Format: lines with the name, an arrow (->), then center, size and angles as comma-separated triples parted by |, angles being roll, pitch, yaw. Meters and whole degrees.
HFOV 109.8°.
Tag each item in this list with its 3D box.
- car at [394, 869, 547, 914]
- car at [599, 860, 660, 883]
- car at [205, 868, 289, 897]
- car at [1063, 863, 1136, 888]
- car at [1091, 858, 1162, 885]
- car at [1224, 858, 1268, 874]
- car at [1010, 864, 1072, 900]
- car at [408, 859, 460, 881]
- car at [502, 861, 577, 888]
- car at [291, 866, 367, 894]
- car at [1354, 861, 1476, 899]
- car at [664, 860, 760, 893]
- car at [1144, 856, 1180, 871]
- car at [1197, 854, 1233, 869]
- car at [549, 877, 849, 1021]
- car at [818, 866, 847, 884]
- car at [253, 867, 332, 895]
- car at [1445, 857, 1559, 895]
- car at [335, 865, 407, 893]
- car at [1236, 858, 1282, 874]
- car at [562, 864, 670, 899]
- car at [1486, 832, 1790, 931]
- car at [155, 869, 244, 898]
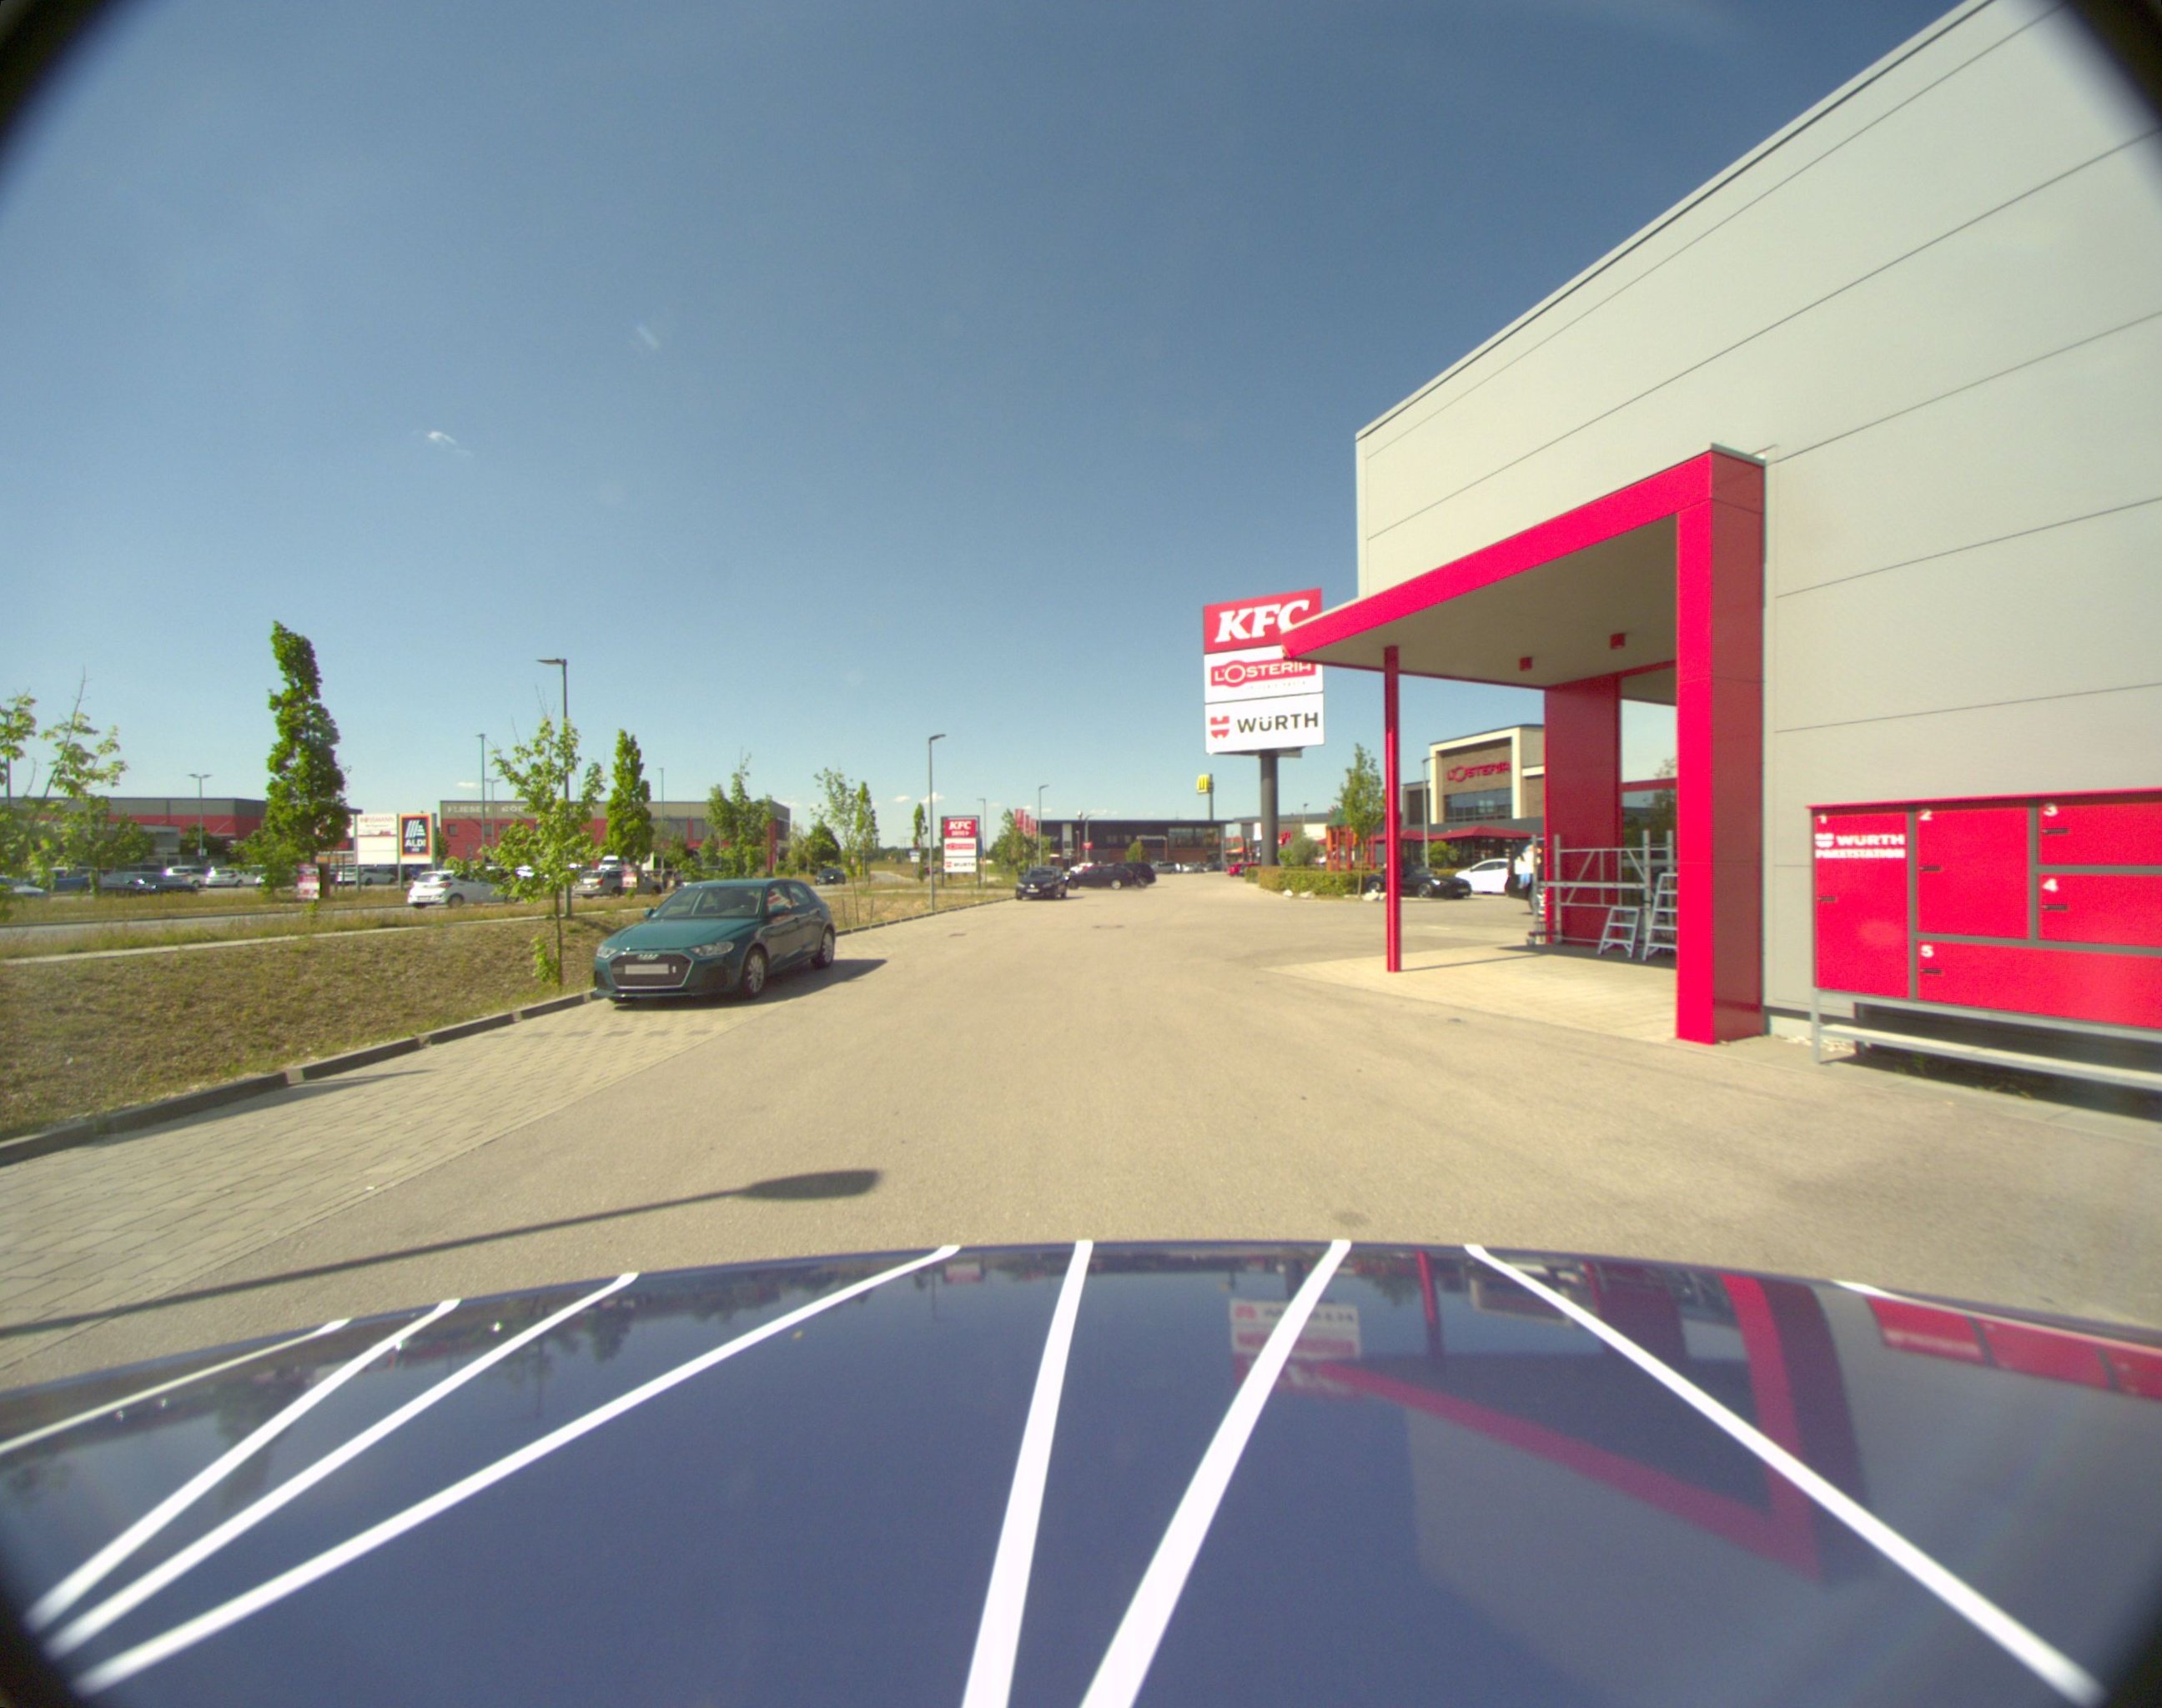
car -> -24.325, 1.445, 30.558 | 1.944, 1.542, 4.763 | -1, 0, 6
car -> -42.234, 1.626, 71.135 | 4.481, 2.026, 2.000 | -1, 0, -1
car -> -63.395, 2.113, 57.860 | 2.000, 2.026, 4.480 | -1, 0, -12
car -> 1.188, 1.345, 47.884 | 4.529, 1.450, 2.001 | -1, 0, 3
car -> 3.130, 1.191, 51.845 | 4.526, 1.825, 2.002 | -1, 0, 13
car -> 17.301, 1.274, 79.799 | 4.098, 1.556, 1.877 | -1, 0, -13
car -> -1.714, 1.216, 34.404 | 1.875, 1.457, 4.368 | -1, 0, 10
car -> -64.249, 1.557, 75.505 | 2.000, 2.026, 4.480 | -1, 0, -12
car -> -43.128, 1.604, 60.556 | 4.481, 2.026, 2.000 | -1, 0, -1
car -> -58.182, 1.984, 58.915 | 2.000, 2.026, 4.480 | -1, 0, -12
car -> 12.814, 0.960, 29.406 | 1.833, 1.330, 4.146 | -1, 0, -25
car -> -19.149, 1.111, 39.710 | 1.943, 1.542, 4.765 | -1, 0, 13
car -> 11.004, 1.273, 103.110 | 4.486, 2.002, 1.998 | -1, 0, -13
car -> 18.957, 1.087, 107.455 | 4.486, 2.002, 1.998 | -1, 0, -13
car -> -4.764, 1.087, 10.305 | 1.844, 1.441, 4.227 | -1, 0, 1
car -> -22.629, 1.881, 69.320 | 1.829, 1.532, 3.998 | -1, -1, -8
car -> -60.911, 2.054, 58.802 | 2.000, 2.026, 4.480 | -1, 0, -12
car -> 17.266, 0.879, 31.376 | 1.805, 1.466, 3.907 | -1, 0, -19
car -> -55.403, 1.915, 59.419 | 2.000, 2.026, 4.480 | -1, 0, -12
car -> 18.046, 1.201, 77.174 | 4.098, 1.556, 1.877 | -1, 0, -13
car -> -23.267, 1.344, 38.300 | 1.944, 1.542, 4.764 | -1, 0, 10
car -> 12.476, 0.558, 17.571 | 2.034, 1.927, 5.371 | -1, 0, -23
car -> -66.080, 2.179, 57.065 | 2.000, 2.026, 4.480 | -1, 0, -12
